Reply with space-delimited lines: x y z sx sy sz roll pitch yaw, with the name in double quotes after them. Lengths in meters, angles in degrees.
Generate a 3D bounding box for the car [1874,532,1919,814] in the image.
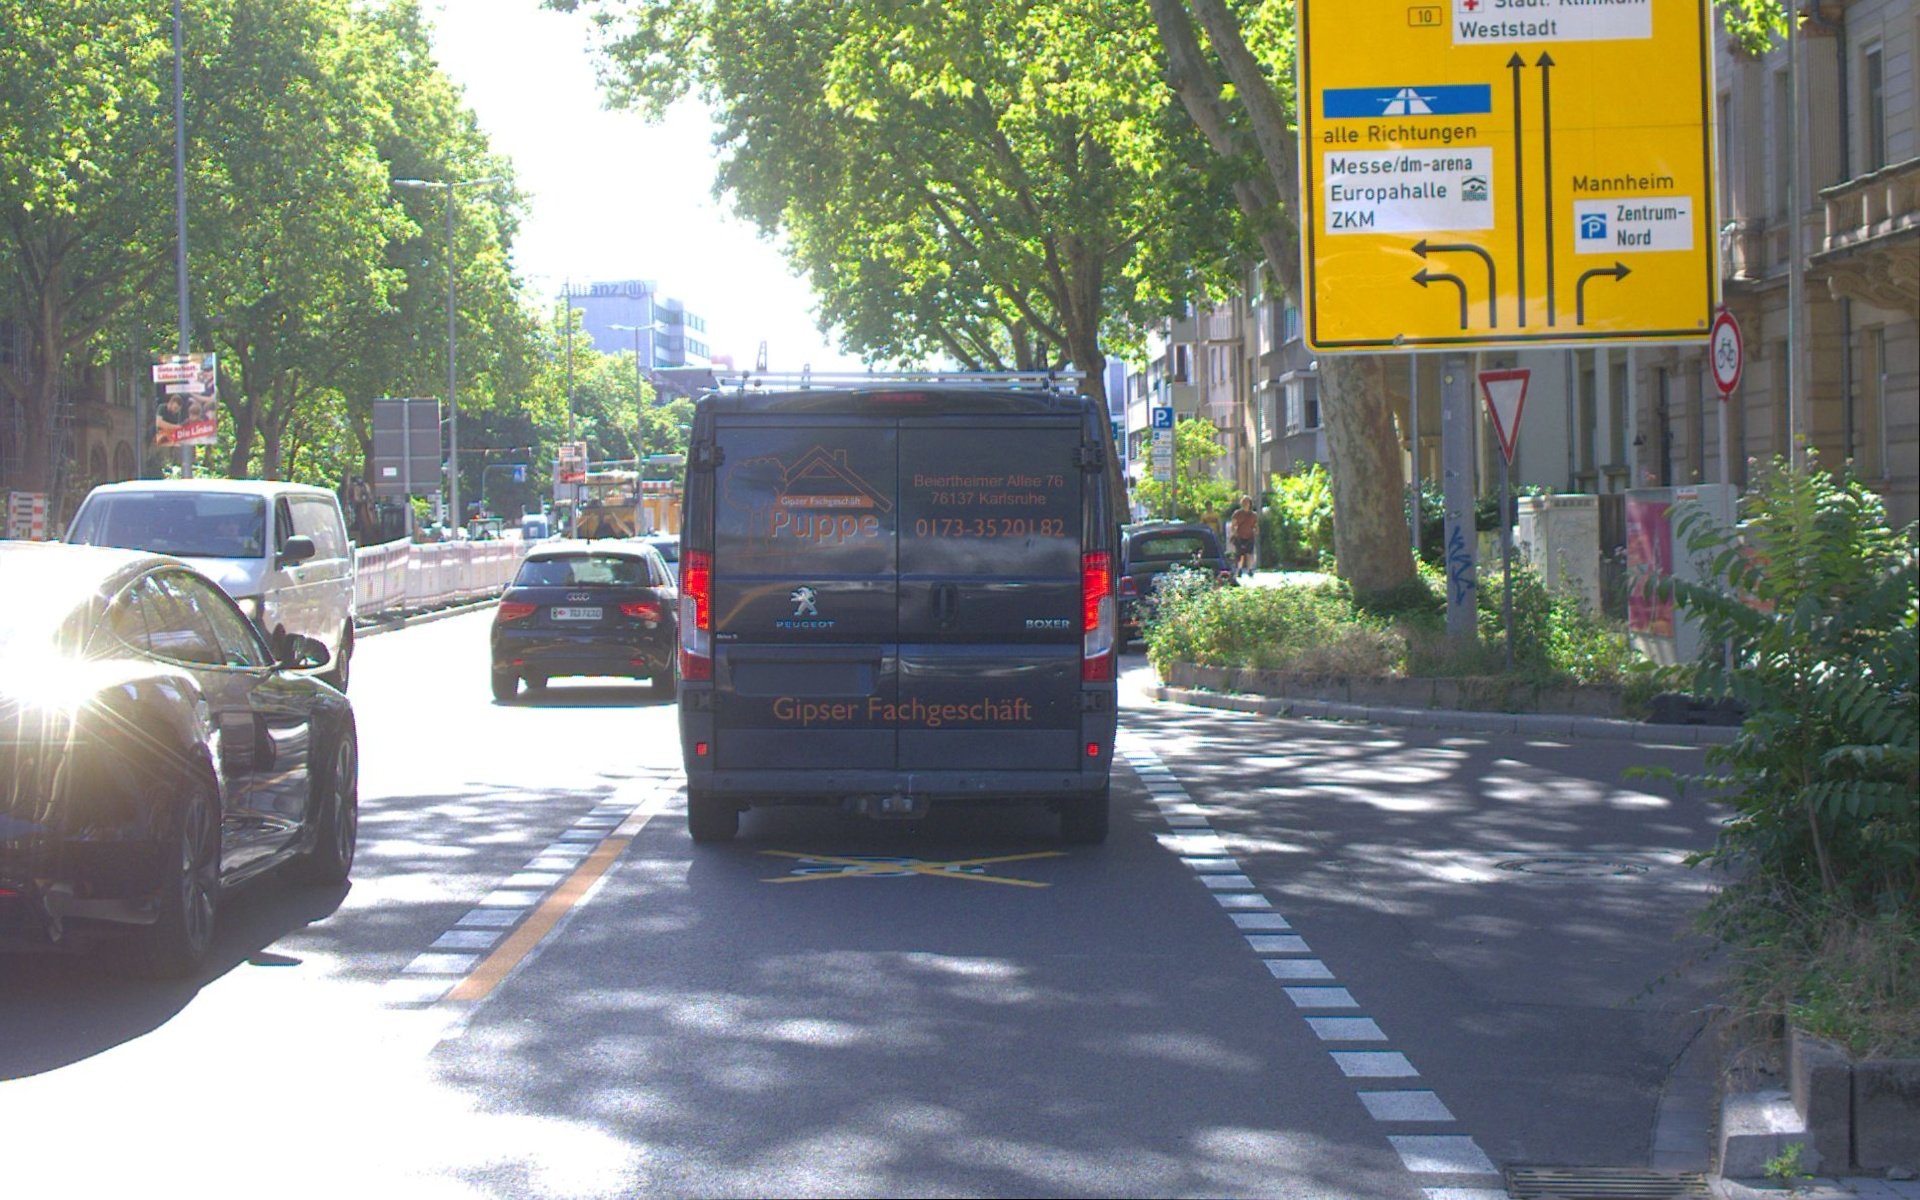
7.118 0.335 18.265 4.042 1.481 1.840 -1 -1 -22 "car"

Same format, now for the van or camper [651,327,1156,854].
-0.333 -0.095 17.628 2.245 2.338 4.538 0 1 -2 "van or camper"

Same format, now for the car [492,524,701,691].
-3.369 0.024 32.392 1.619 1.481 3.734 0 1 -1 "car"

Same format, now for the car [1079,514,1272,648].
2.600 -0.263 42.350 1.772 1.563 4.001 0 1 -5 "car"

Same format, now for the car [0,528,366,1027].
-3.438 0.490 12.480 1.837 1.478 4.476 0 1 -1 "car"

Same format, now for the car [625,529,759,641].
-3.667 -0.238 47.483 1.619 1.481 3.734 0 1 -1 "car"

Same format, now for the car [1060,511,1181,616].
2.528 -0.602 54.887 1.773 1.563 4.000 -1 1 1 "car"

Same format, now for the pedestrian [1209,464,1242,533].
9.028 -3.453 116.995 1.058 2.337 0.816 0 1 2 "pedestrian"

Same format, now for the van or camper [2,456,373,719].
-6.481 -0.153 29.480 1.993 2.007 5.329 1 1 -1 "van or camper"
